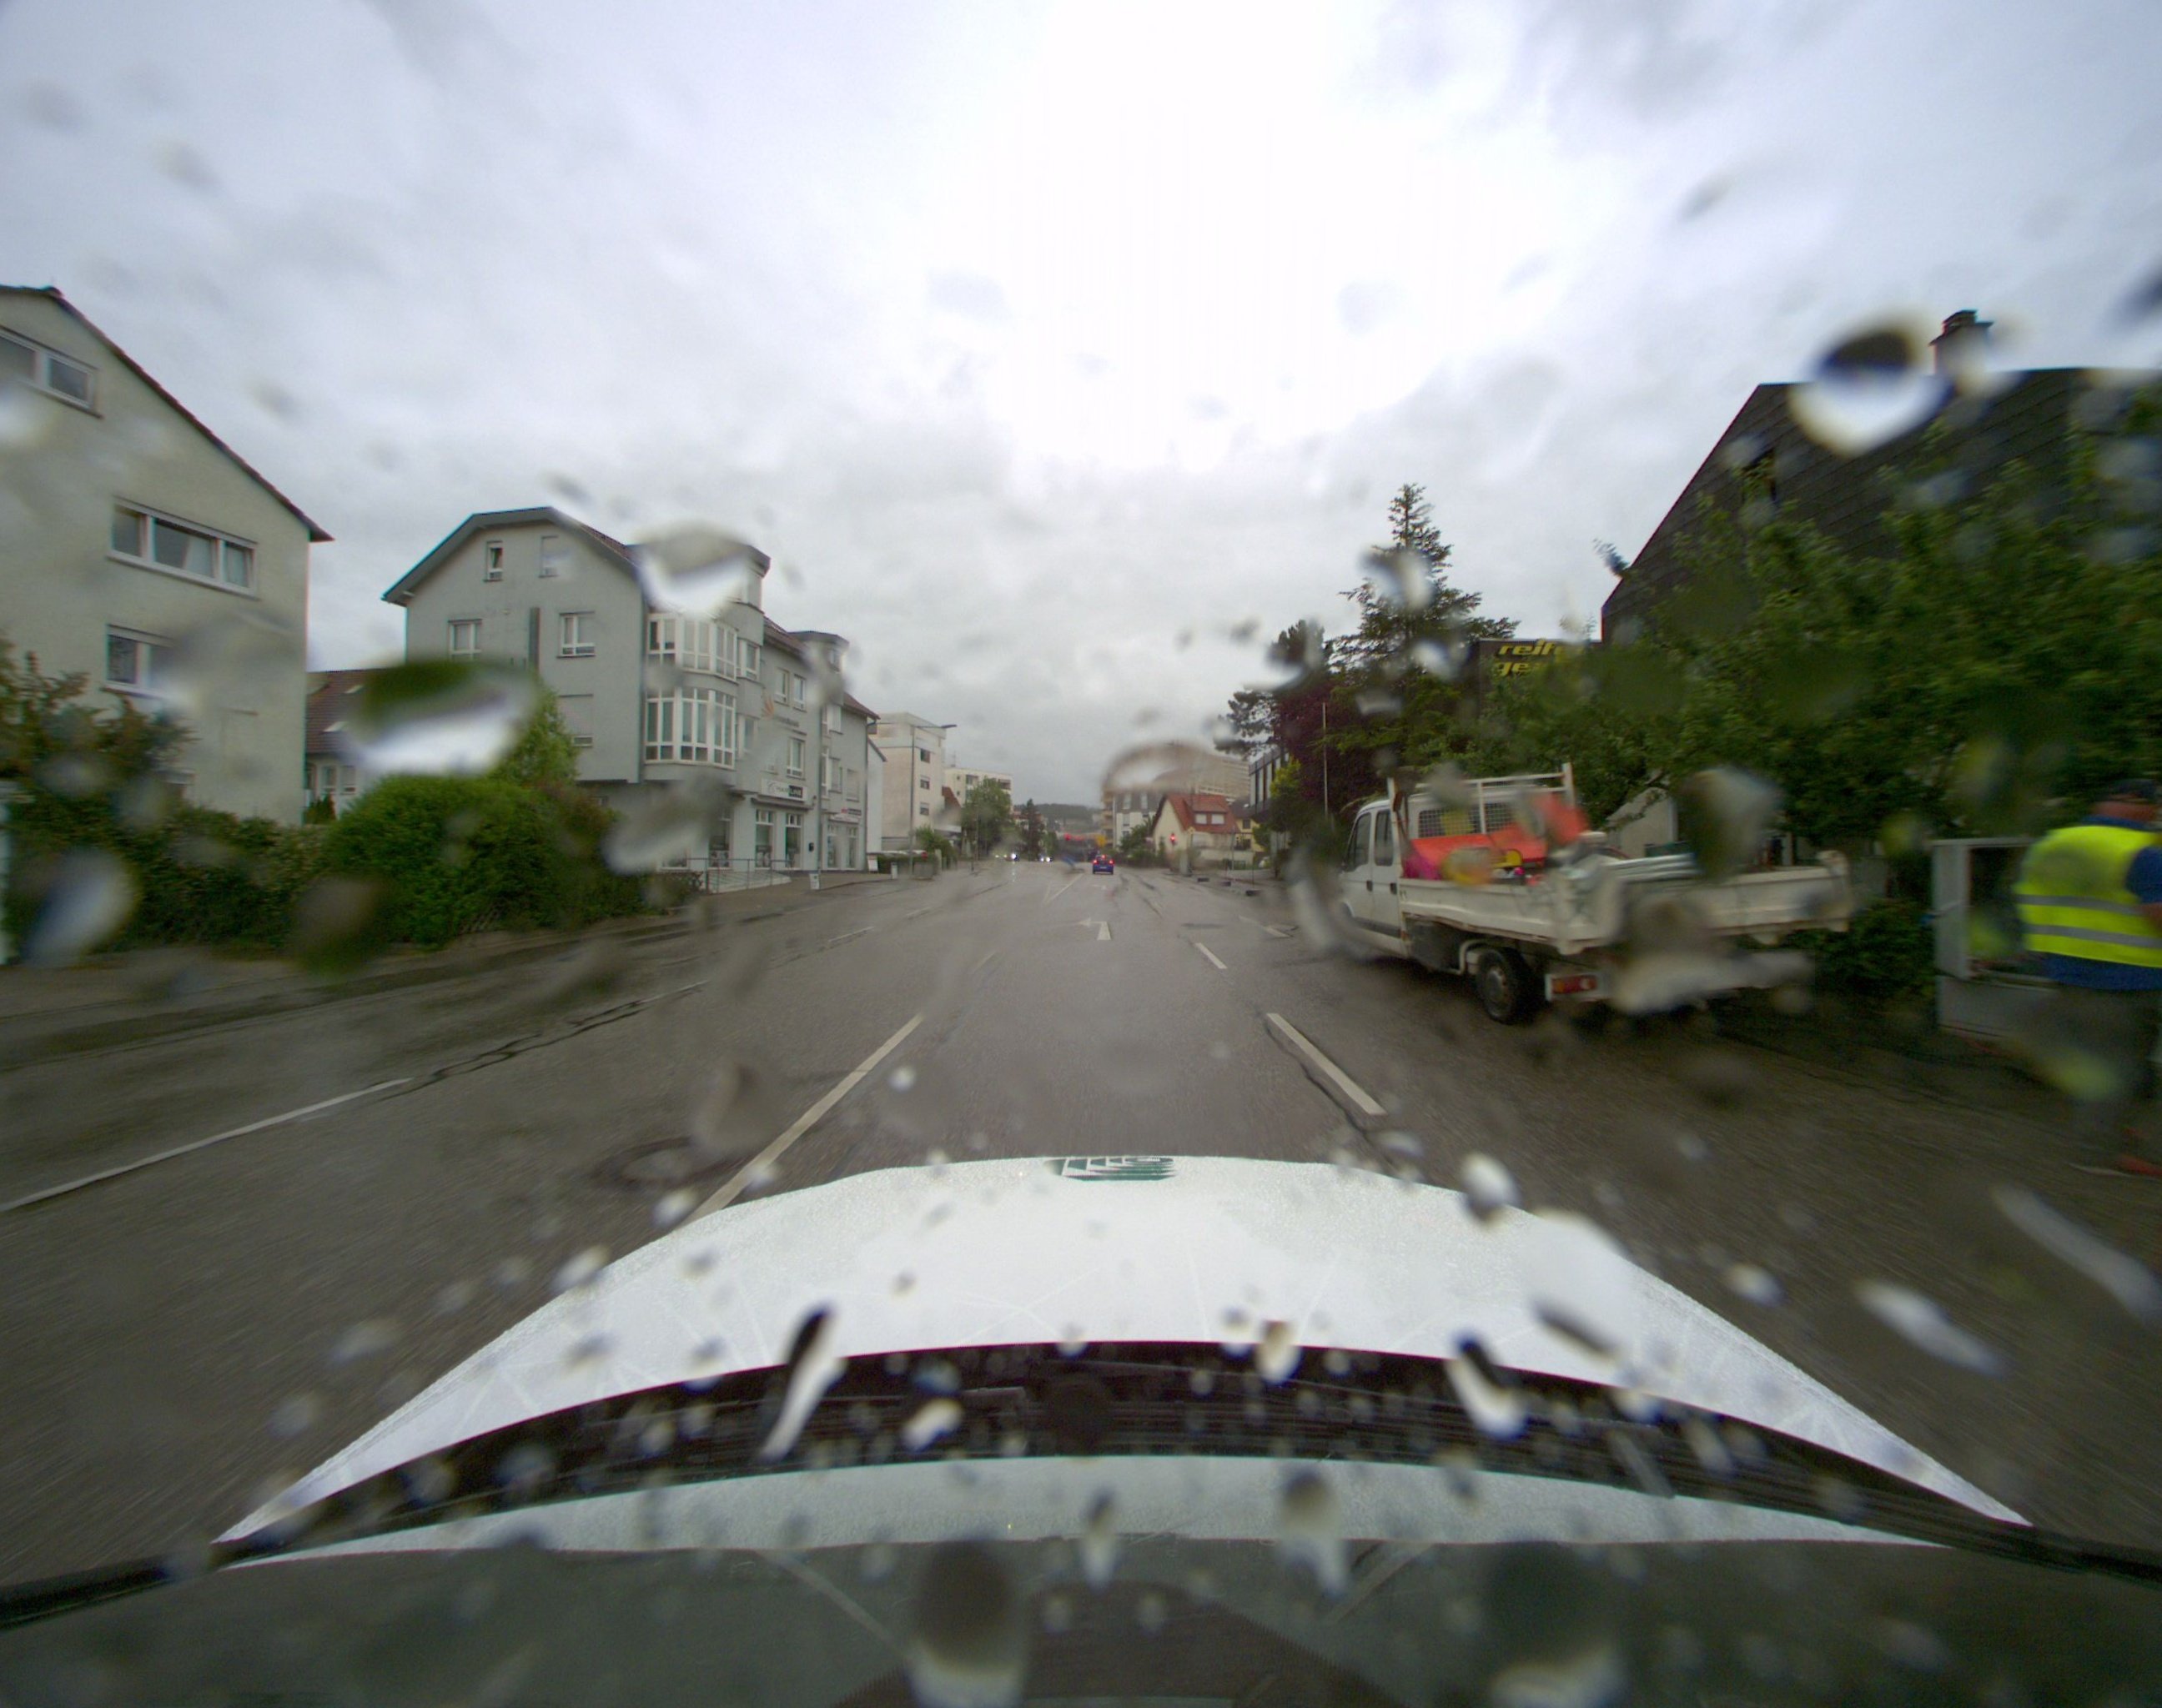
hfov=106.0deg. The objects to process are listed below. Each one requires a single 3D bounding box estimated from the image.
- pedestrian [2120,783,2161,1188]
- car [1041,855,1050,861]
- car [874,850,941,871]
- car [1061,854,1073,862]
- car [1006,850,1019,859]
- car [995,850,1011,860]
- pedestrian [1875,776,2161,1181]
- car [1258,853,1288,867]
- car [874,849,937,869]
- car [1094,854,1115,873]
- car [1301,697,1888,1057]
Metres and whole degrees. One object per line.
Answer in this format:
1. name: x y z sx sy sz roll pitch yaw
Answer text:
1. pedestrian: 4.752 0.529 3.004 0.575 1.663 0.941 -2 0 -10
2. car: -8.418 1.008 193.168 1.772 1.420 3.832 1 0 1
3. car: -12.208 0.468 57.457 4.197 1.474 1.908 0 0 7
4. car: -2.555 0.721 149.422 1.806 1.486 4.191 0 0 2
5. car: -10.780 0.106 128.250 1.709 1.387 4.021 1 0 1
6. car: -11.571 0.150 121.094 1.772 1.420 3.832 1 0 1
7. pedestrian: 4.676 0.516 3.952 0.709 1.707 0.889 -2 0 -10
8. car: 21.696 0.640 91.855 1.723 1.514 4.025 1 0 38
9. car: -13.994 0.387 65.035 4.422 1.637 1.945 0 0 11
10. car: 1.804 0.689 62.845 1.573 1.410 3.271 1 0 2
11. car: 4.402 0.153 8.824 2.383 2.432 6.434 -1 0 1
